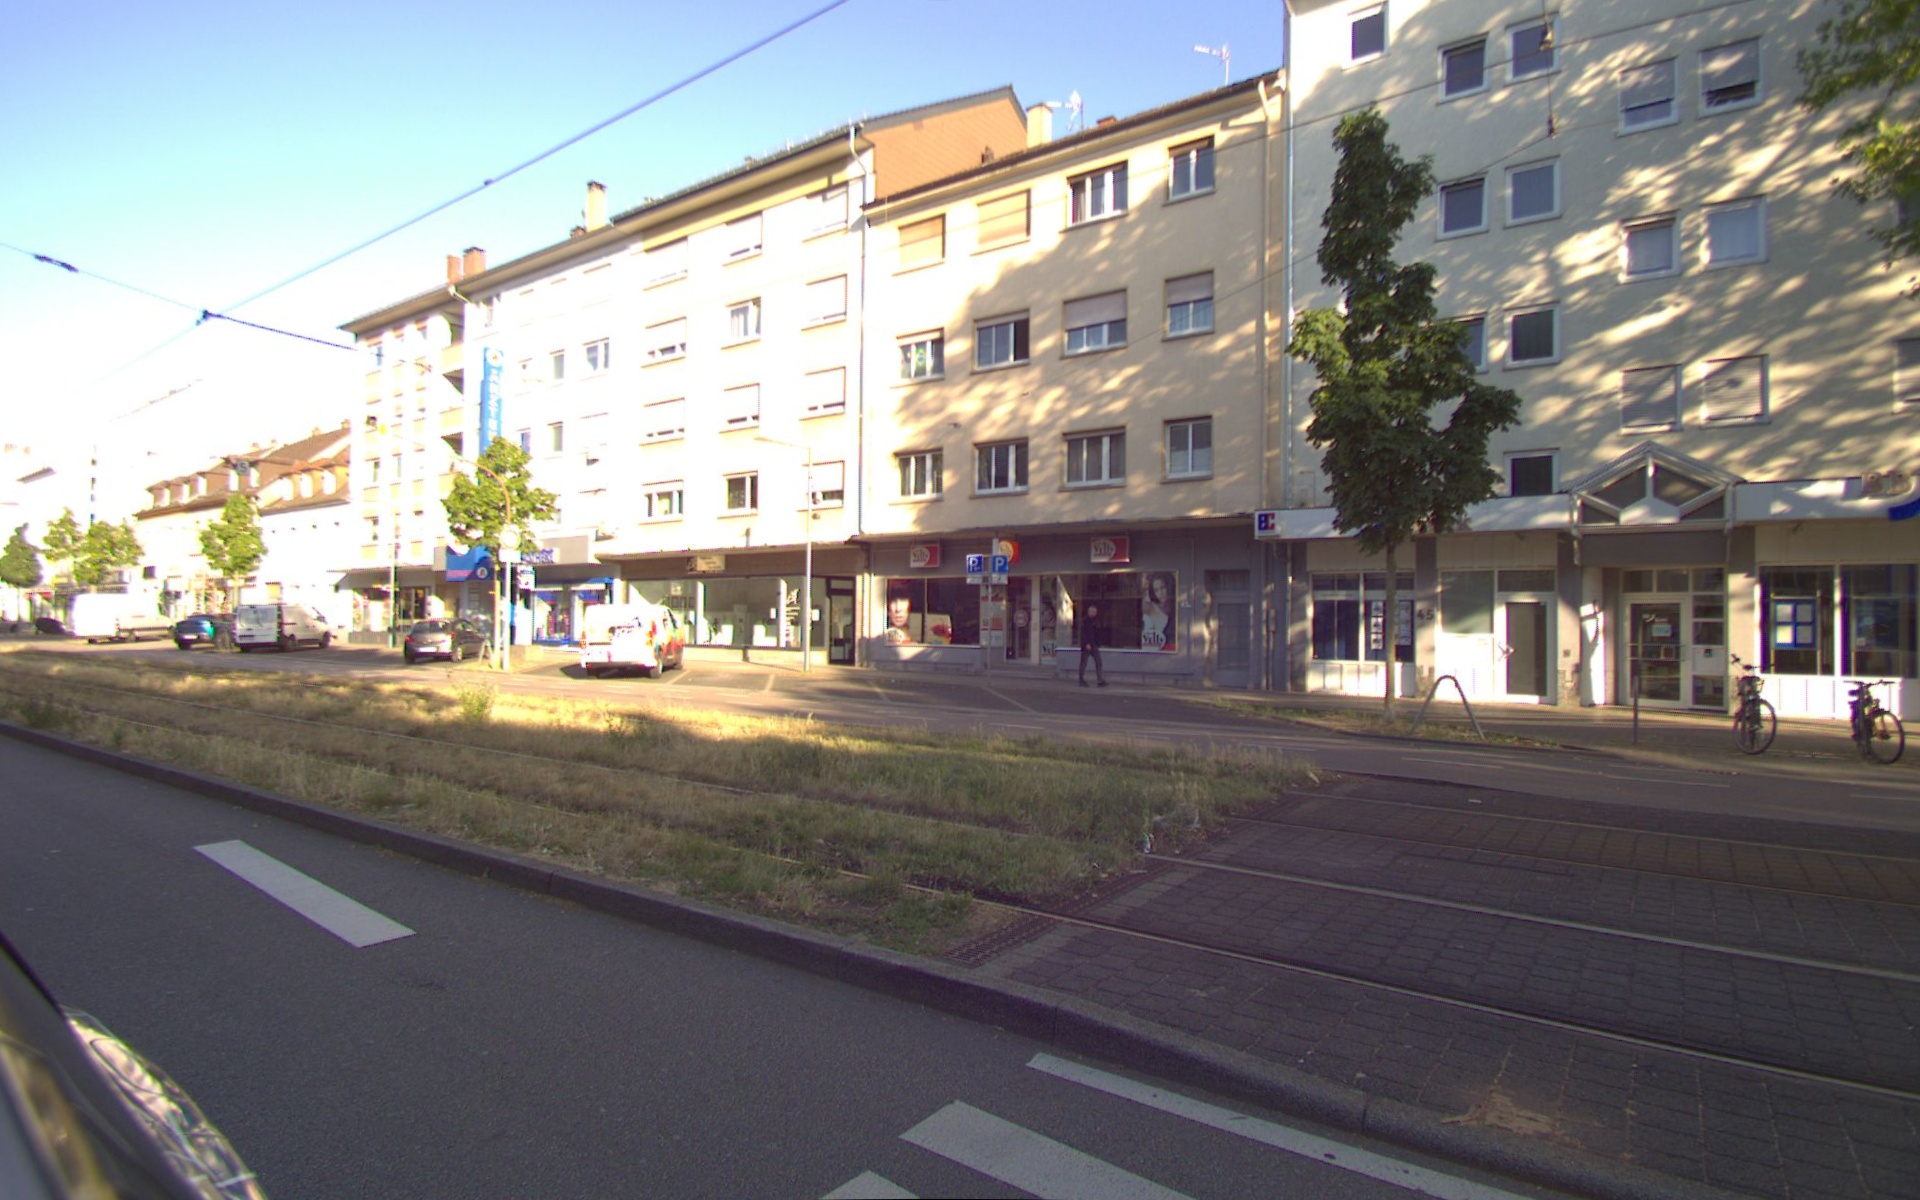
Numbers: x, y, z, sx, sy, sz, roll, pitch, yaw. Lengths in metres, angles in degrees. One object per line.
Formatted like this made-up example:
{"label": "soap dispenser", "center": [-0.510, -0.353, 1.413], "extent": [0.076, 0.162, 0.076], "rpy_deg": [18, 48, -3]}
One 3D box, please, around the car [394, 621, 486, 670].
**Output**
{"label": "car", "center": [-17.542, 1.502, 34.336], "extent": [1.708, 1.508, 4.009], "rpy_deg": [0, 0, -10]}

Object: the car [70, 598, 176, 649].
{"label": "car", "center": [-45.382, 1.225, 55.092], "extent": [1.895, 2.634, 6.608], "rpy_deg": [0, 0, -16]}

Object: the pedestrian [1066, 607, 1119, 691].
{"label": "pedestrian", "center": [3.002, 1.092, 22.933], "extent": [0.916, 1.841, 0.747], "rpy_deg": [-1, -1, 41]}

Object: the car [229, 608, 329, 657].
{"label": "car", "center": [-28.648, 1.313, 42.745], "extent": [1.828, 1.952, 4.514], "rpy_deg": [0, 0, -10]}

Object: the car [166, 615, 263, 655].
{"label": "car", "center": [-34.179, 1.566, 46.529], "extent": [1.830, 1.727, 3.919], "rpy_deg": [0, 0, -4]}

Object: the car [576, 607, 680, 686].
{"label": "car", "center": [-8.787, 1.156, 27.096], "extent": [1.830, 1.913, 4.005], "rpy_deg": [0, 0, -6]}

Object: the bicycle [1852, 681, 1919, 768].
{"label": "bicycle", "center": [11.366, 1.492, 12.415], "extent": [0.471, 0.895, 1.724], "rpy_deg": [-1, -1, 36]}

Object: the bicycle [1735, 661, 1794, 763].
{"label": "bicycle", "center": [10.292, 1.390, 12.982], "extent": [0.511, 1.147, 1.724], "rpy_deg": [-1, -1, 36]}
